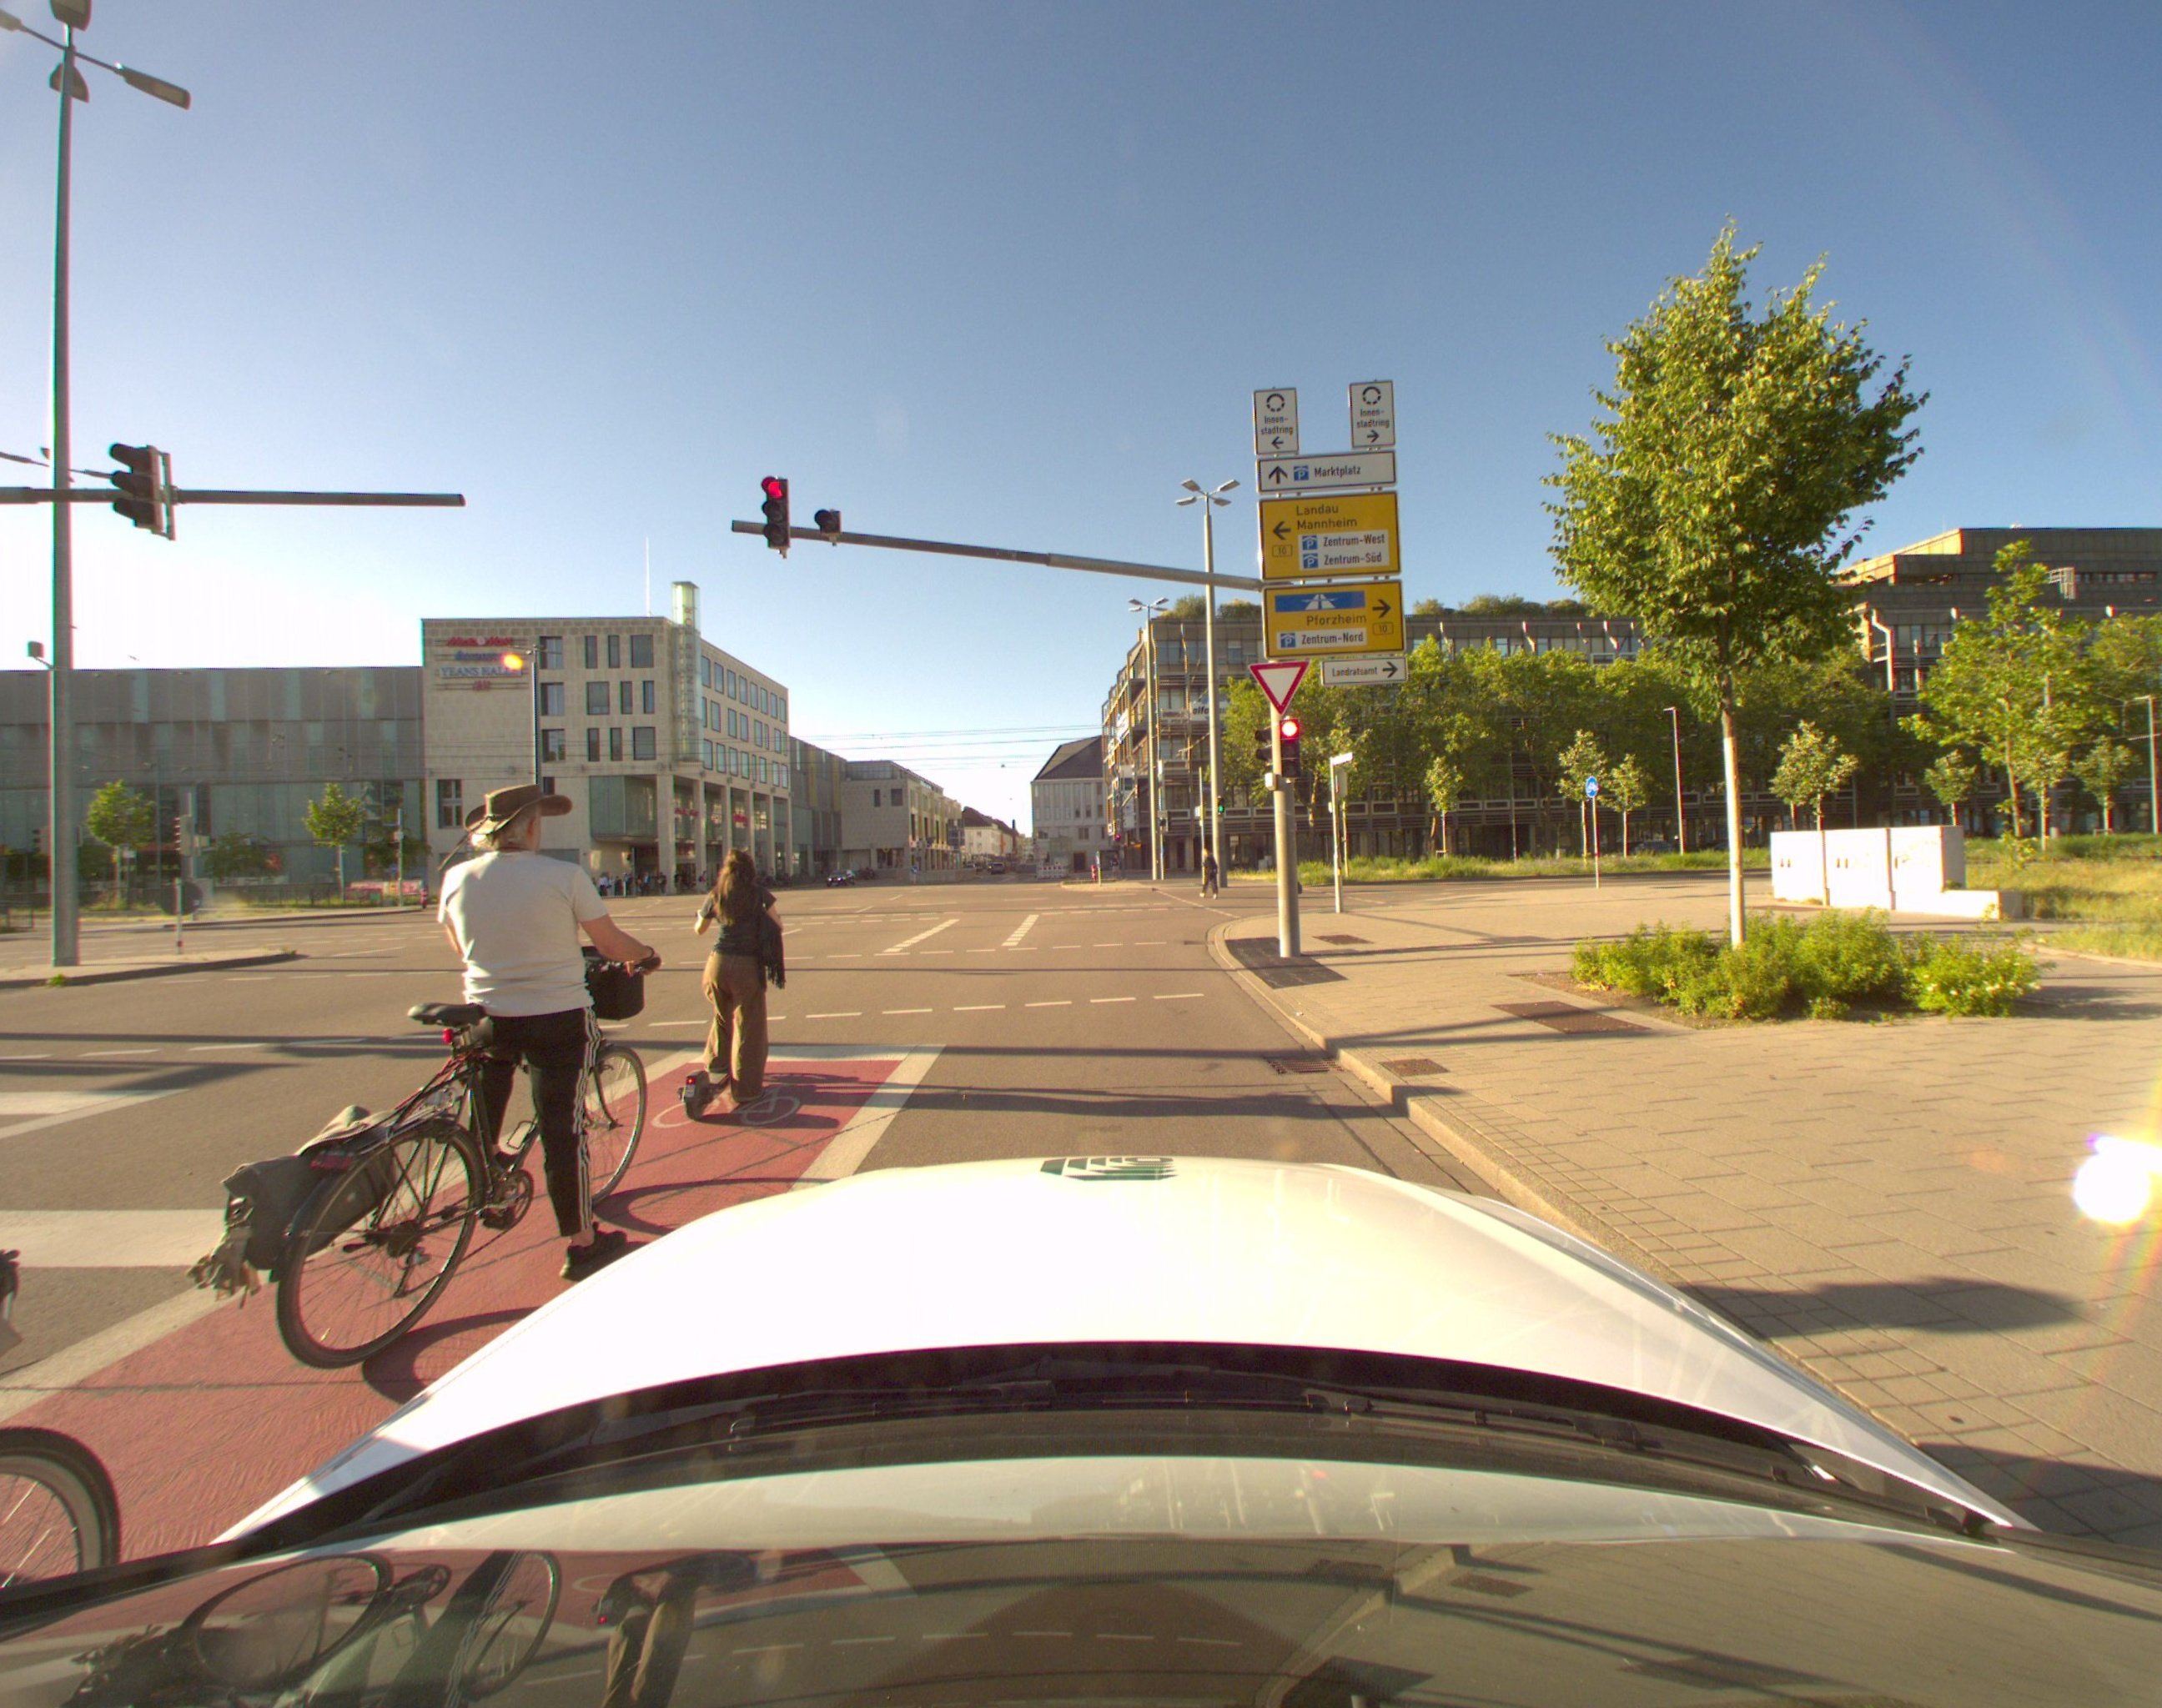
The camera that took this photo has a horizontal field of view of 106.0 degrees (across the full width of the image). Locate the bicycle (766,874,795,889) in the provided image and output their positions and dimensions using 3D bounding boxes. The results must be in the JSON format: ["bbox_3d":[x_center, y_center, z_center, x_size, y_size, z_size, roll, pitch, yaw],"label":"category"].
[{"bbox_3d":[-26.563,2.435,72.012,2.299,1.222,0.612,-2,-1,-1],"label":"bicycle"}]

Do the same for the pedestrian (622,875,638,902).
[{"bbox_3d":[-31.944,2.457,57.693,0.783,1.885,0.716,0,-1,-4],"label":"pedestrian"}]

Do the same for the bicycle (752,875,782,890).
[{"bbox_3d":[-26.732,2.414,69.375,2.299,1.222,0.612,-2,-1,-1],"label":"bicycle"}]

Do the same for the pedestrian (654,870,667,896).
[{"bbox_3d":[-30.790,2.124,59.667,0.800,1.843,0.856,-2,0,-26],"label":"pedestrian"}]

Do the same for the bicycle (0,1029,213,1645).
[{"bbox_3d":[-2.419,0.984,0.981,0.645,1.109,1.970,0,0,-1],"label":"bicycle"}]

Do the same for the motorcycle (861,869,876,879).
[{"bbox_3d":[-25.781,2.439,98.740,1.807,1.206,0.509,0,0,-14],"label":"motorcycle"}]

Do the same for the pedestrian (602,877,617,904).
[{"bbox_3d":[-33.990,2.631,58.721,0.714,1.885,0.786,0,-1,-6],"label":"pedestrian"}]

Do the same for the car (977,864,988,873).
[{"bbox_3d":[-19.809,2.915,163.931,1.793,1.657,3.997,0,-1,-2],"label":"car"}]

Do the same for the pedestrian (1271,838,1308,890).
[{"bbox_3d":[6.779,0.314,26.491,0.877,1.665,0.963,0,-1,-5],"label":"pedestrian"}]

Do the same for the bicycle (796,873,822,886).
[{"bbox_3d":[-27.184,2.517,81.344,2.299,1.222,0.612,-2,-1,-1],"label":"bicycle"}]

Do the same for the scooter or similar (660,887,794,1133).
[{"bbox_3d":[-2.154,0.873,5.076,0.547,1.294,1.188,0,-1,-13],"label":"scooter or similar"}]

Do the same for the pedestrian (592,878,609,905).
[{"bbox_3d":[-33.867,2.618,57.374,0.783,1.885,0.716,0,-1,-4],"label":"pedestrian"}]

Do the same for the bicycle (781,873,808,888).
[{"bbox_3d":[-26.695,2.469,75.964,2.299,1.222,0.612,-2,-1,-1],"label":"bicycle"}]

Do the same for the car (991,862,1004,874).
[{"bbox_3d":[-11.137,1.867,108.656,1.735,1.531,3.848,0,-1,-5],"label":"car"}]

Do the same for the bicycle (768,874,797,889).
[{"bbox_3d":[-26.739,2.443,72.897,2.299,1.222,0.612,-2,-1,-1],"label":"bicycle"}]

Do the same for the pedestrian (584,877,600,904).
[{"bbox_3d":[-35.050,2.603,58.367,0.783,1.885,0.716,0,-1,-4],"label":"pedestrian"}]

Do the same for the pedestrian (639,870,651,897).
[{"bbox_3d":[-31.184,2.076,58.255,0.718,1.885,0.781,0,-1,-25],"label":"pedestrian"}]

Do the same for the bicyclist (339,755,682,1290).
[{"bbox_3d":[-2.053,0.545,3.063,0.658,1.720,0.866,0,-1,1],"label":"bicyclist"}]

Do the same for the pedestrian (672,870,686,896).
[{"bbox_3d":[-29.104,2.072,58.941,0.801,1.843,0.855,-2,0,-30],"label":"pedestrian"}]

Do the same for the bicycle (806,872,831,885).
[{"bbox_3d":[-27.587,2.556,85.582,2.299,1.222,0.612,-2,-1,-1],"label":"bicycle"}]

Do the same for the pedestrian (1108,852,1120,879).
[{"bbox_3d":[2.326,0.819,57.414,0.785,1.890,0.644,0,-1,1],"label":"pedestrian"}]

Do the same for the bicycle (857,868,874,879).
[{"bbox_3d":[-25.459,2.310,96.147,1.819,1.206,0.506,0,0,-37],"label":"bicycle"}]

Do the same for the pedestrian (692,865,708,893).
[{"bbox_3d":[-28.417,1.856,60.708,0.883,2.014,0.771,0,-1,-9],"label":"pedestrian"}]

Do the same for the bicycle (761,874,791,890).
[{"bbox_3d":[-26.461,2.423,70.652,2.299,1.222,0.612,-2,-1,-1],"label":"bicycle"}]

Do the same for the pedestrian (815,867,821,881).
[{"bbox_3d":[-30.995,2.367,96.051,0.570,1.679,0.614,0,0,-8],"label":"pedestrian"}]

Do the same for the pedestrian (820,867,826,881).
[{"bbox_3d":[-30.444,2.358,96.203,0.553,1.679,0.606,0,0,-8],"label":"pedestrian"}]

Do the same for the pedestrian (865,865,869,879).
[{"bbox_3d":[-26.101,2.200,99.356,0.521,1.679,0.580,0,0,-12],"label":"pedestrian"}]

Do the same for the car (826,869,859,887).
[{"bbox_3d":[-20.623,2.057,70.508,1.625,1.342,3.999,-4,-1,0],"label":"car"}]

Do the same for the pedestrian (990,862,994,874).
[{"bbox_3d":[-12.851,2.010,117.853,0.520,1.679,0.582,0,0,-5],"label":"pedestrian"}]

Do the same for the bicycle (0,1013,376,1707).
[{"bbox_3d":[-1.618,0.911,0.599,0.614,1.218,1.831,0,0,-1],"label":"bicycle"}]

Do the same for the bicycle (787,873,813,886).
[{"bbox_3d":[-27.628,2.510,80.127,2.299,1.222,0.612,-2,-1,-1],"label":"bicycle"}]

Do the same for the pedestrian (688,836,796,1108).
[{"bbox_3d":[-2.159,0.708,5.245,0.549,1.633,0.569,0,-1,-13],"label":"pedestrian"}]

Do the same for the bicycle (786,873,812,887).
[{"bbox_3d":[-27.061,2.489,78.132,2.299,1.222,0.612,-2,-1,-1],"label":"bicycle"}]

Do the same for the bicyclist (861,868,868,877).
[{"bbox_3d":[-25.526,2.157,96.093,0.628,1.084,0.506,0,0,-37],"label":"bicyclist"}]

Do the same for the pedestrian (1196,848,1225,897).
[{"bbox_3d":[3.936,0.558,24.787,0.785,1.492,0.644,0,-1,1],"label":"pedestrian"}]

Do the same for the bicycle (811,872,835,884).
[{"bbox_3d":[-27.422,2.563,86.648,2.299,1.222,0.612,-2,-1,-1],"label":"bicycle"}]

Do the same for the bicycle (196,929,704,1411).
[{"bbox_3d":[-2.145,0.945,3.140,0.483,1.156,1.832,0,-1,2],"label":"bicycle"}]

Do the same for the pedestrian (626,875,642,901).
[{"bbox_3d":[-32.511,2.474,59.244,0.783,1.885,0.716,0,-1,-4],"label":"pedestrian"}]

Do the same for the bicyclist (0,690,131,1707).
[{"bbox_3d":[-1.625,0.593,0.675,0.639,1.579,0.875,0,0,-1],"label":"bicyclist"}]
